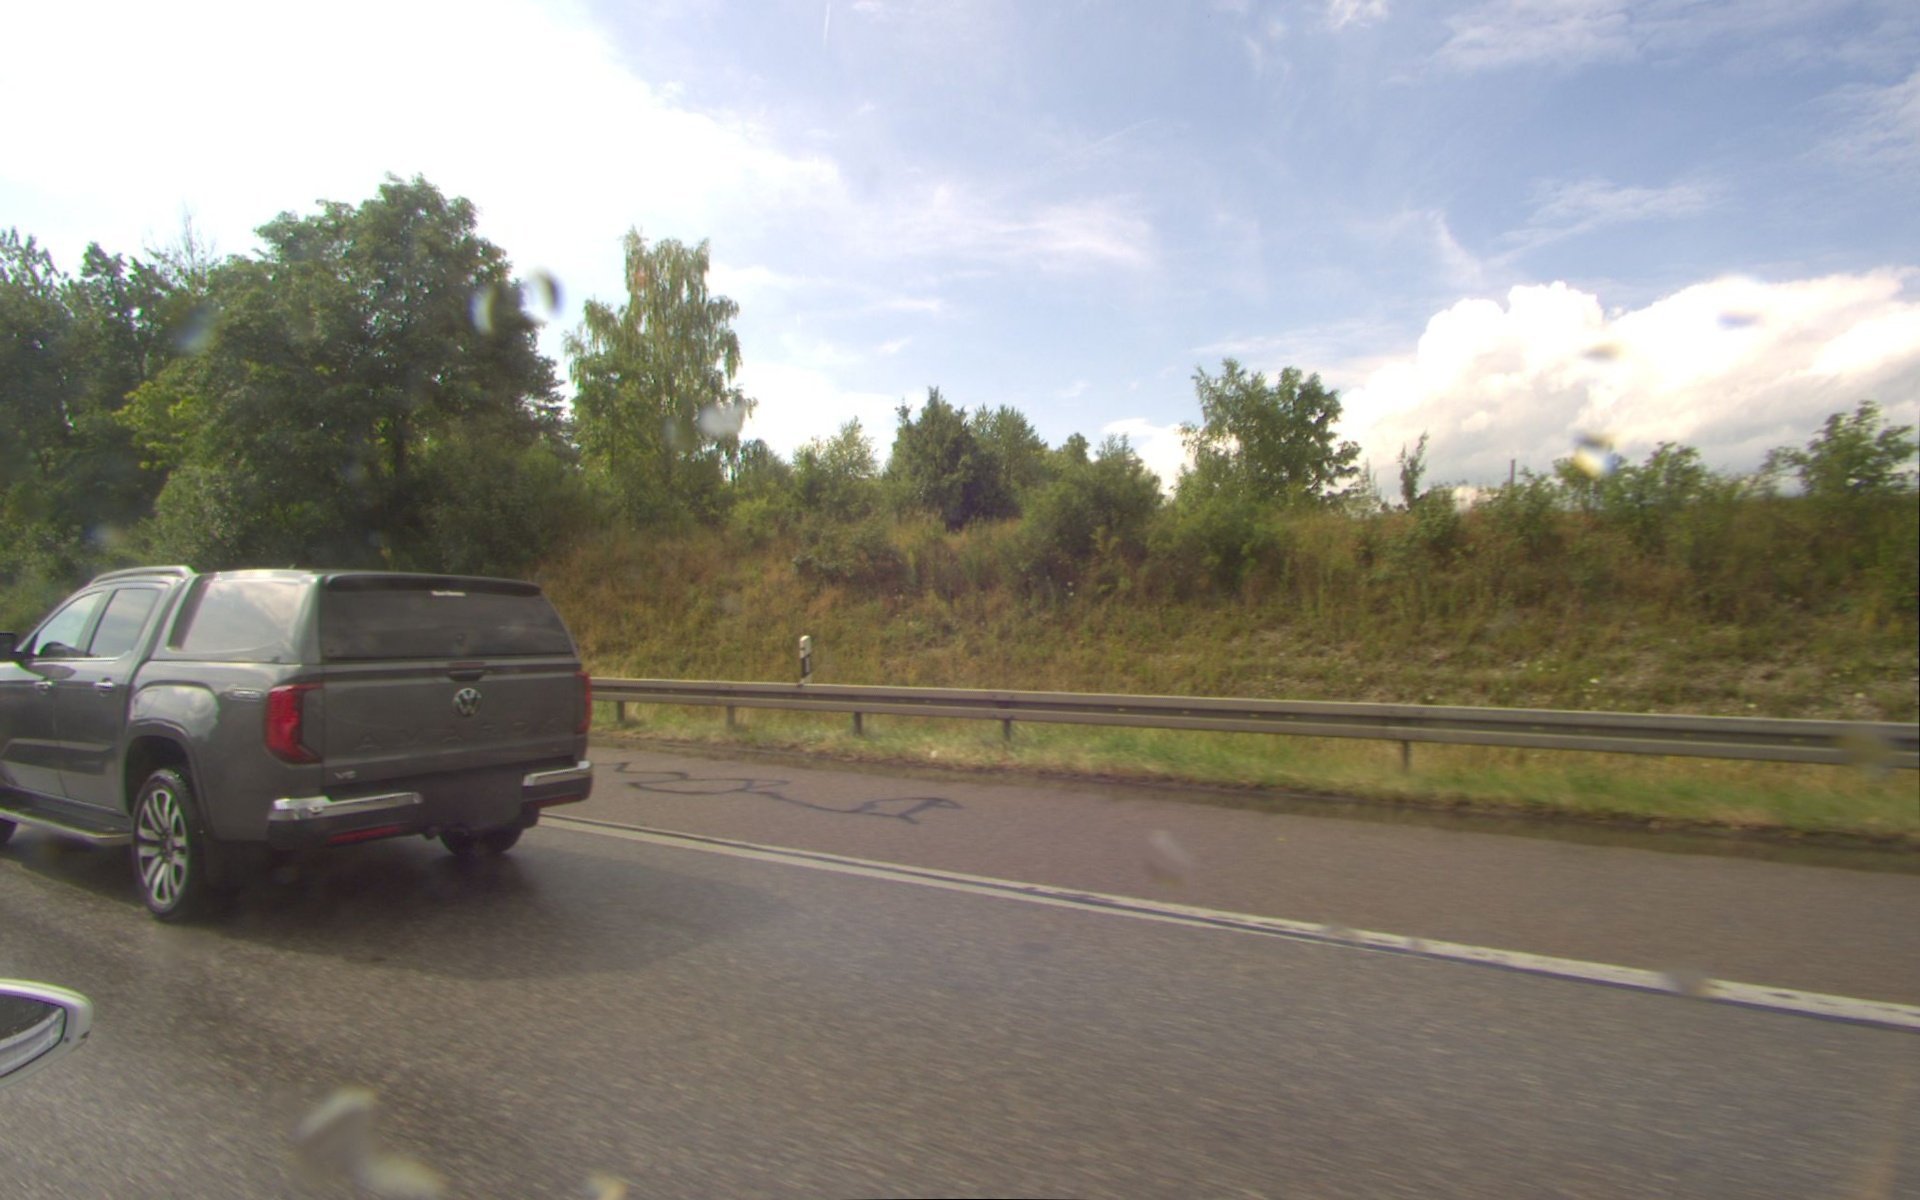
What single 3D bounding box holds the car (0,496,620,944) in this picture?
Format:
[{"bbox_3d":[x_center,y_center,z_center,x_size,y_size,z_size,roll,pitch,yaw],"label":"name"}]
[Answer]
[{"bbox_3d":[-4.910,0.604,6.640,5.570,1.943,1.939,-1,-2,31],"label":"car"}]
